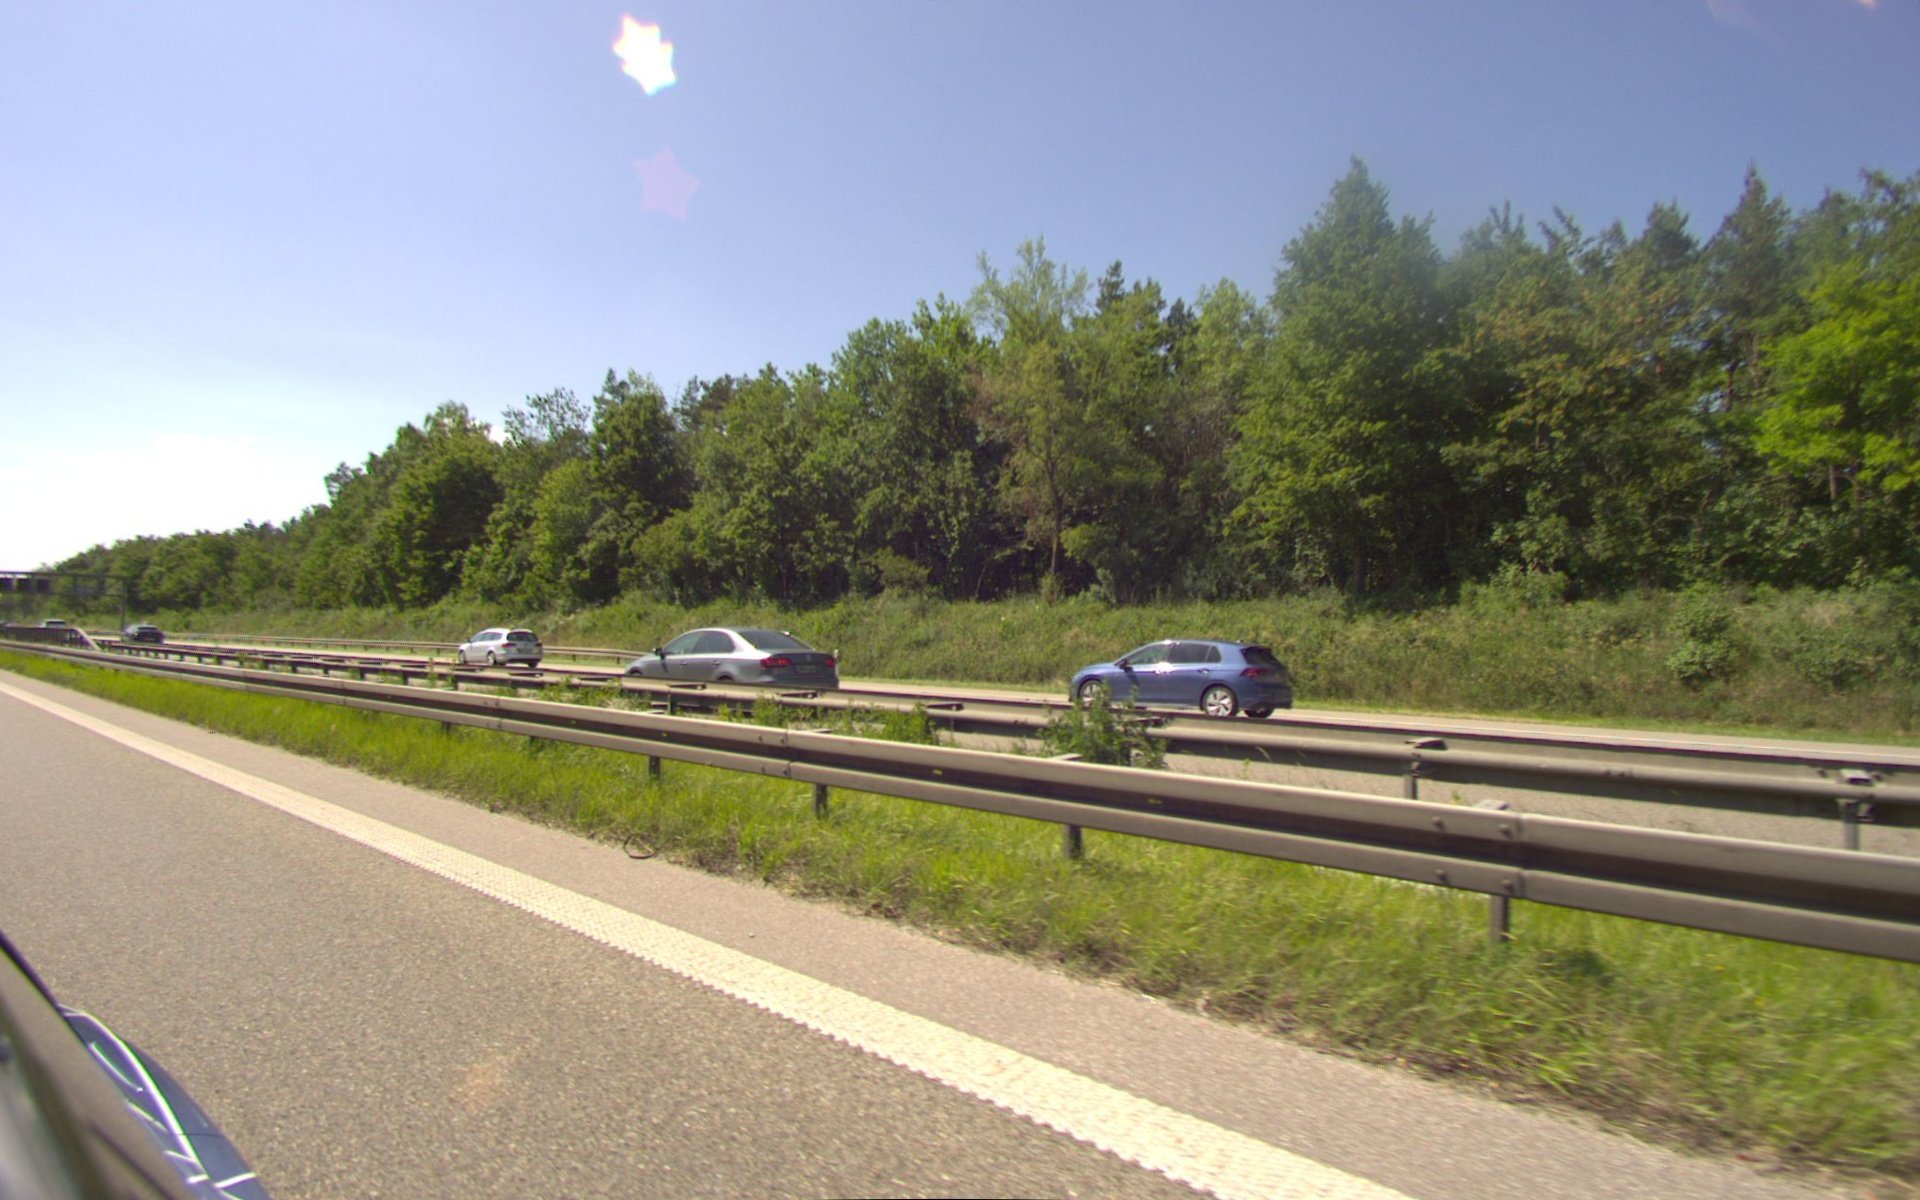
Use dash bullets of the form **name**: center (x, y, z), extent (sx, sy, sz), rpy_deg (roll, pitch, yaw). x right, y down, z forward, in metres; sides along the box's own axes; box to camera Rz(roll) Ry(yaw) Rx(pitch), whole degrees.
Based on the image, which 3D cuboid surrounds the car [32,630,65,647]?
- **car**: center (-89.319, 3.751, 99.175), extent (5.538, 1.646, 1.758), rpy_deg (-2, -5, 42)

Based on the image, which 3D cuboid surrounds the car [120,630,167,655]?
- **car**: center (-55.050, 2.848, 68.207), extent (4.428, 1.580, 1.738), rpy_deg (-2, -5, 42)

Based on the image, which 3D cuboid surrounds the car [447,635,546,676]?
- **car**: center (-18.222, 2.159, 39.683), extent (4.939, 1.504, 1.611), rpy_deg (-2, -5, 42)

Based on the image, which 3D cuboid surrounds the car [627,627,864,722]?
- **car**: center (-3.640, 1.145, 16.686), extent (4.415, 1.366, 1.470), rpy_deg (-1, -3, 41)

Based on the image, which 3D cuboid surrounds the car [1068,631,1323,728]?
- **car**: center (4.257, 1.402, 18.693), extent (4.366, 1.580, 1.578), rpy_deg (-1, -4, 41)

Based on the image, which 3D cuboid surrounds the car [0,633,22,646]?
- **car**: center (-117.785, 4.879, 125.513), extent (3.540, 1.453, 1.578), rpy_deg (-1, -4, 41)
